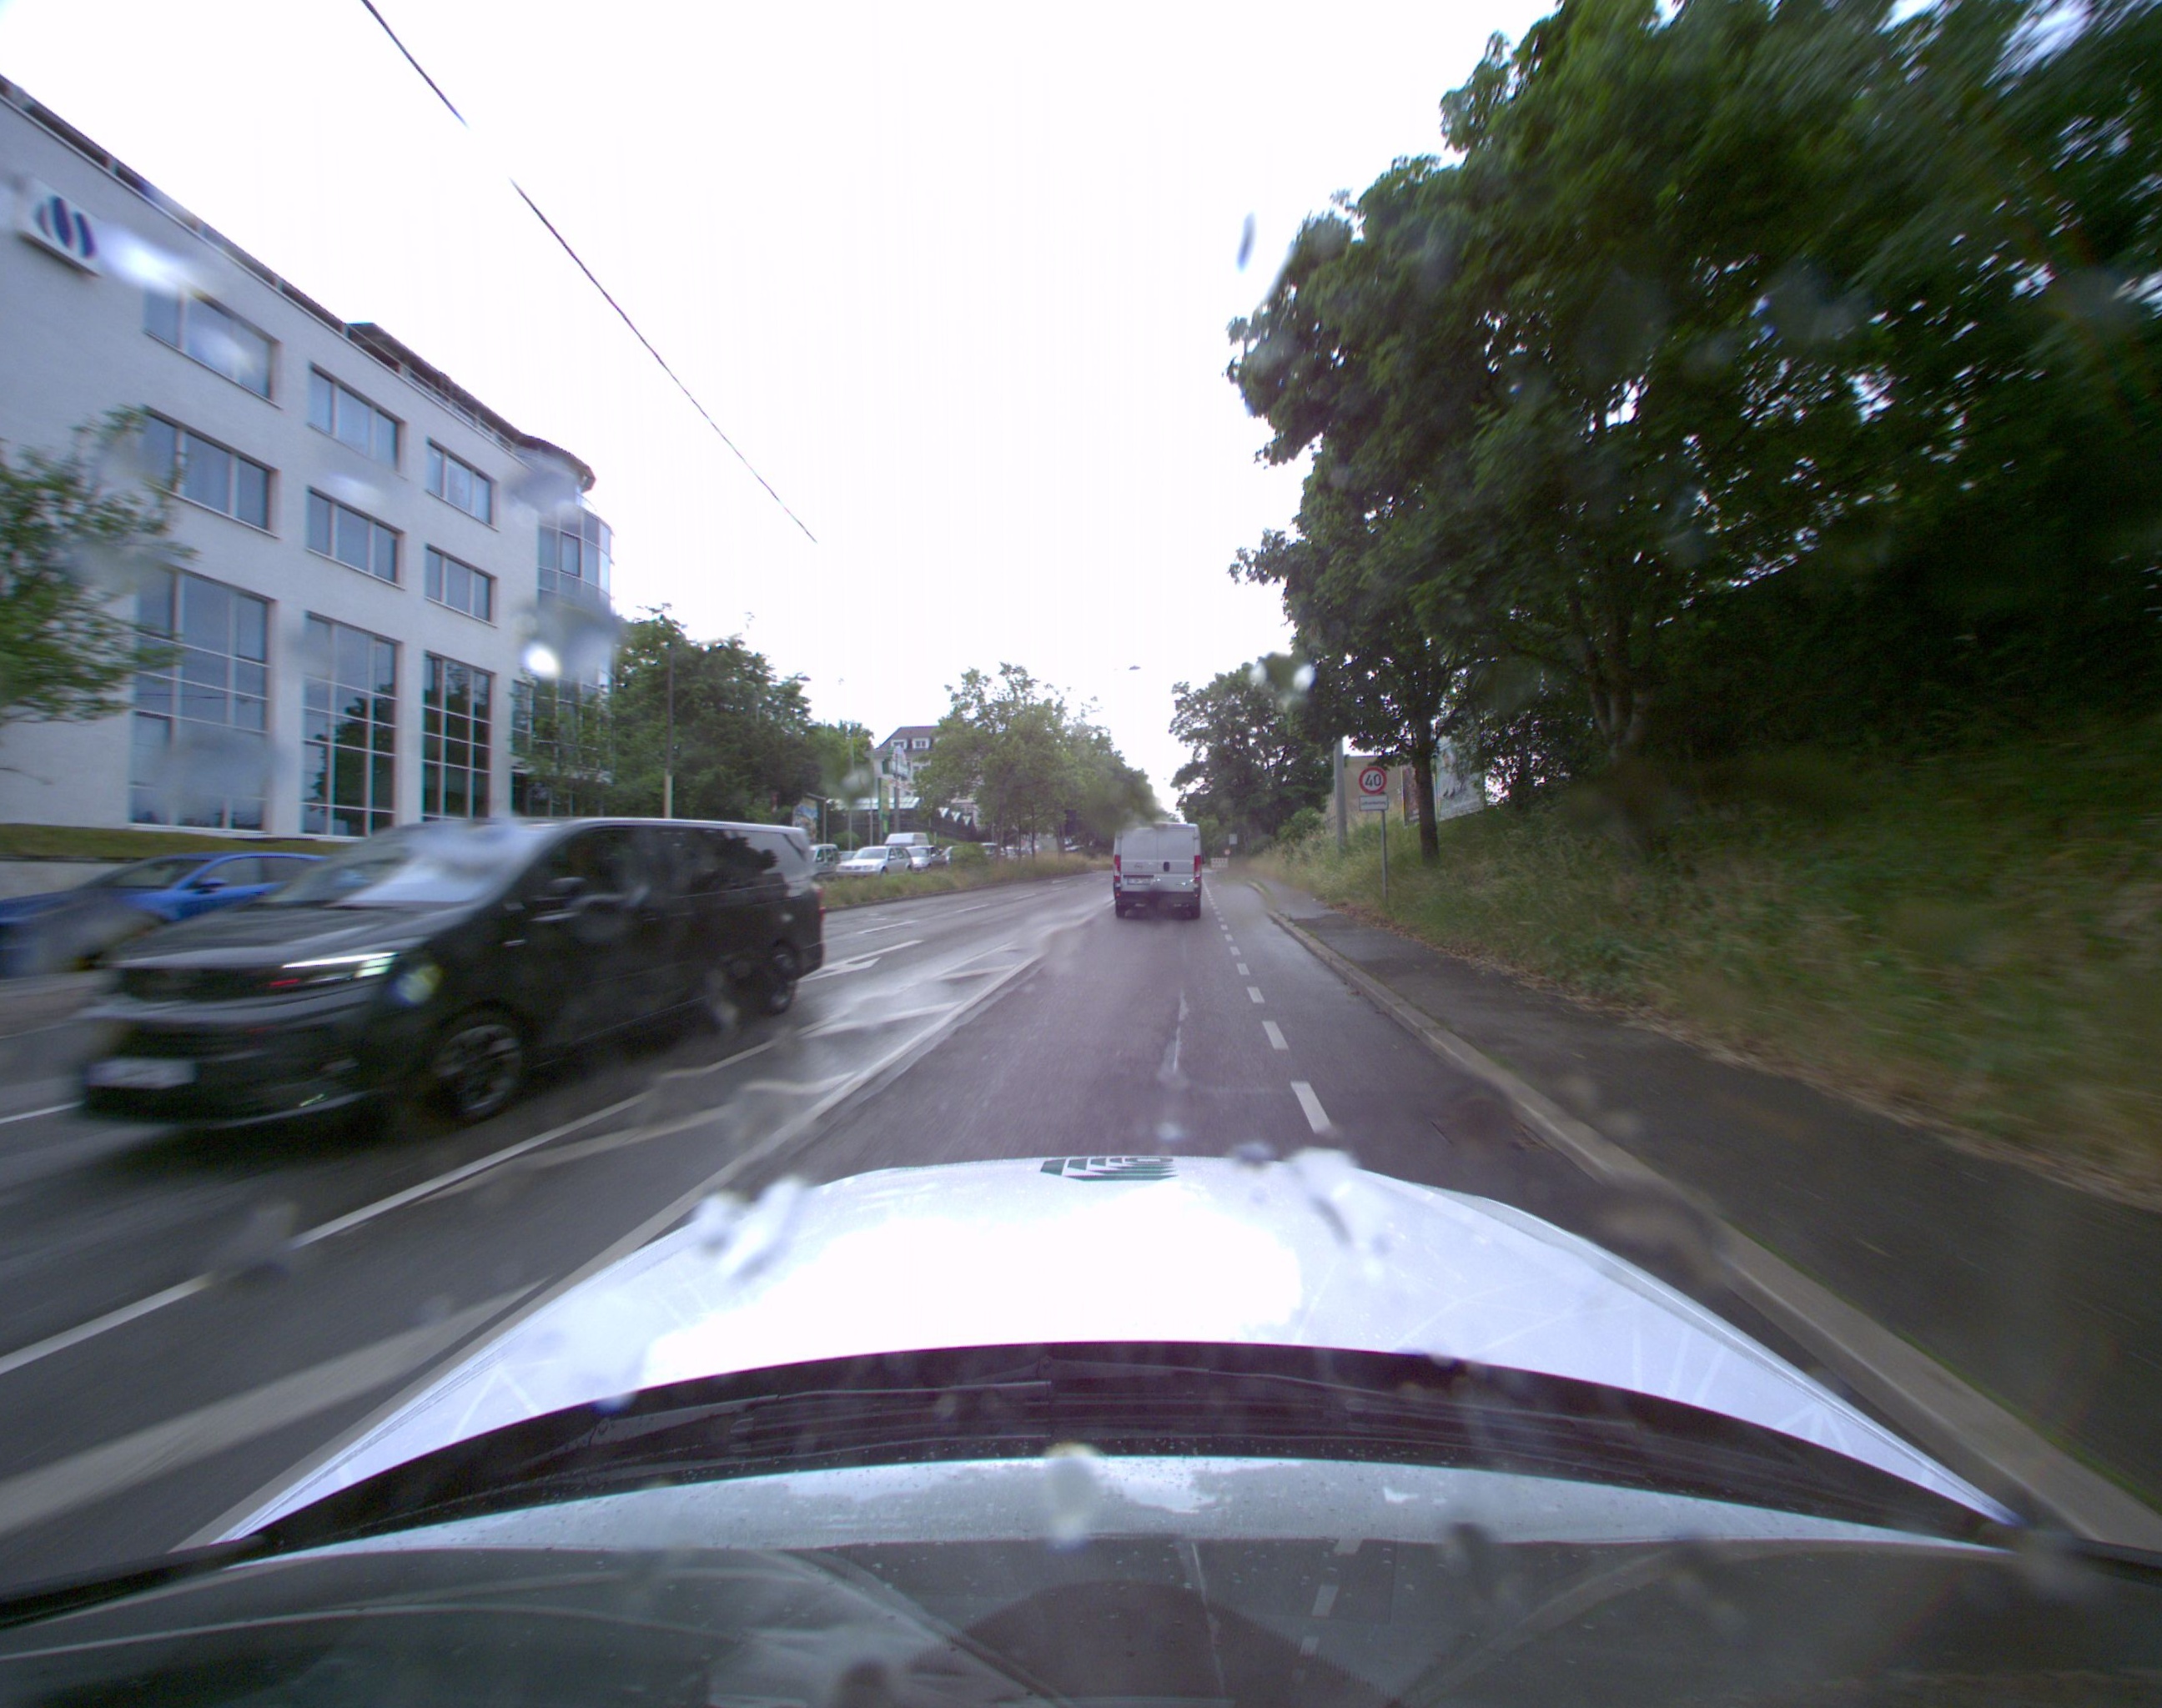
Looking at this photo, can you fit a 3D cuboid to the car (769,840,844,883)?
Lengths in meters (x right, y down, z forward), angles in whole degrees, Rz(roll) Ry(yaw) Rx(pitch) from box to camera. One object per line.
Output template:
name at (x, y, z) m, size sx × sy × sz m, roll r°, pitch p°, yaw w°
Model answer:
car at (-11.737, 0.267, 35.088) m, size 1.584 × 1.695 × 3.787 m, roll -2°, pitch 1°, yaw 6°

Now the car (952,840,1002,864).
car at (-5.691, -0.102, 45.119) m, size 1.688 × 1.205 × 4.228 m, roll -1°, pitch 0°, yaw 7°

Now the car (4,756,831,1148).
car at (-4.104, 0.486, 6.506) m, size 2.003 × 1.867 × 5.053 m, roll -1°, pitch 0°, yaw 8°

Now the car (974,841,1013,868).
car at (-5.328, 0.071, 50.046) m, size 1.645 × 1.452 × 3.651 m, roll -1°, pitch -2°, yaw 6°

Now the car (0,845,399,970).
car at (-13.567, 0.666, 12.625) m, size 1.680 × 1.534 × 4.680 m, roll -2°, pitch 1°, yaw 6°

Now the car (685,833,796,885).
car at (-12.483, 0.151, 30.239) m, size 1.762 × 1.745 × 4.591 m, roll -2°, pitch 1°, yaw 6°

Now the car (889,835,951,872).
car at (-7.234, -0.057, 36.980) m, size 1.584 × 1.540 × 3.999 m, roll -2°, pitch 1°, yaw 6°

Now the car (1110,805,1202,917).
car at (1.889, 0.119, 20.874) m, size 2.040 × 2.516 × 4.950 m, roll -1°, pitch 1°, yaw 5°

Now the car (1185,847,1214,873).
car at (7.047, 0.399, 48.456) m, size 1.684 × 1.426 × 3.375 m, roll 0°, pitch -2°, yaw 8°

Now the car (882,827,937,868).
car at (-10.835, -0.453, 51.995) m, size 1.954 × 2.443 × 5.661 m, roll -2°, pitch 1°, yaw 3°

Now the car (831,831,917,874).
car at (-7.799, -0.095, 31.157) m, size 1.638 × 1.478 × 4.453 m, roll -2°, pitch 1°, yaw 7°

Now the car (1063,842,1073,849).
car at (-2.454, -1.587, 152.225) m, size 1.592 × 1.250 × 2.913 m, roll -1°, pitch -2°, yaw 4°
